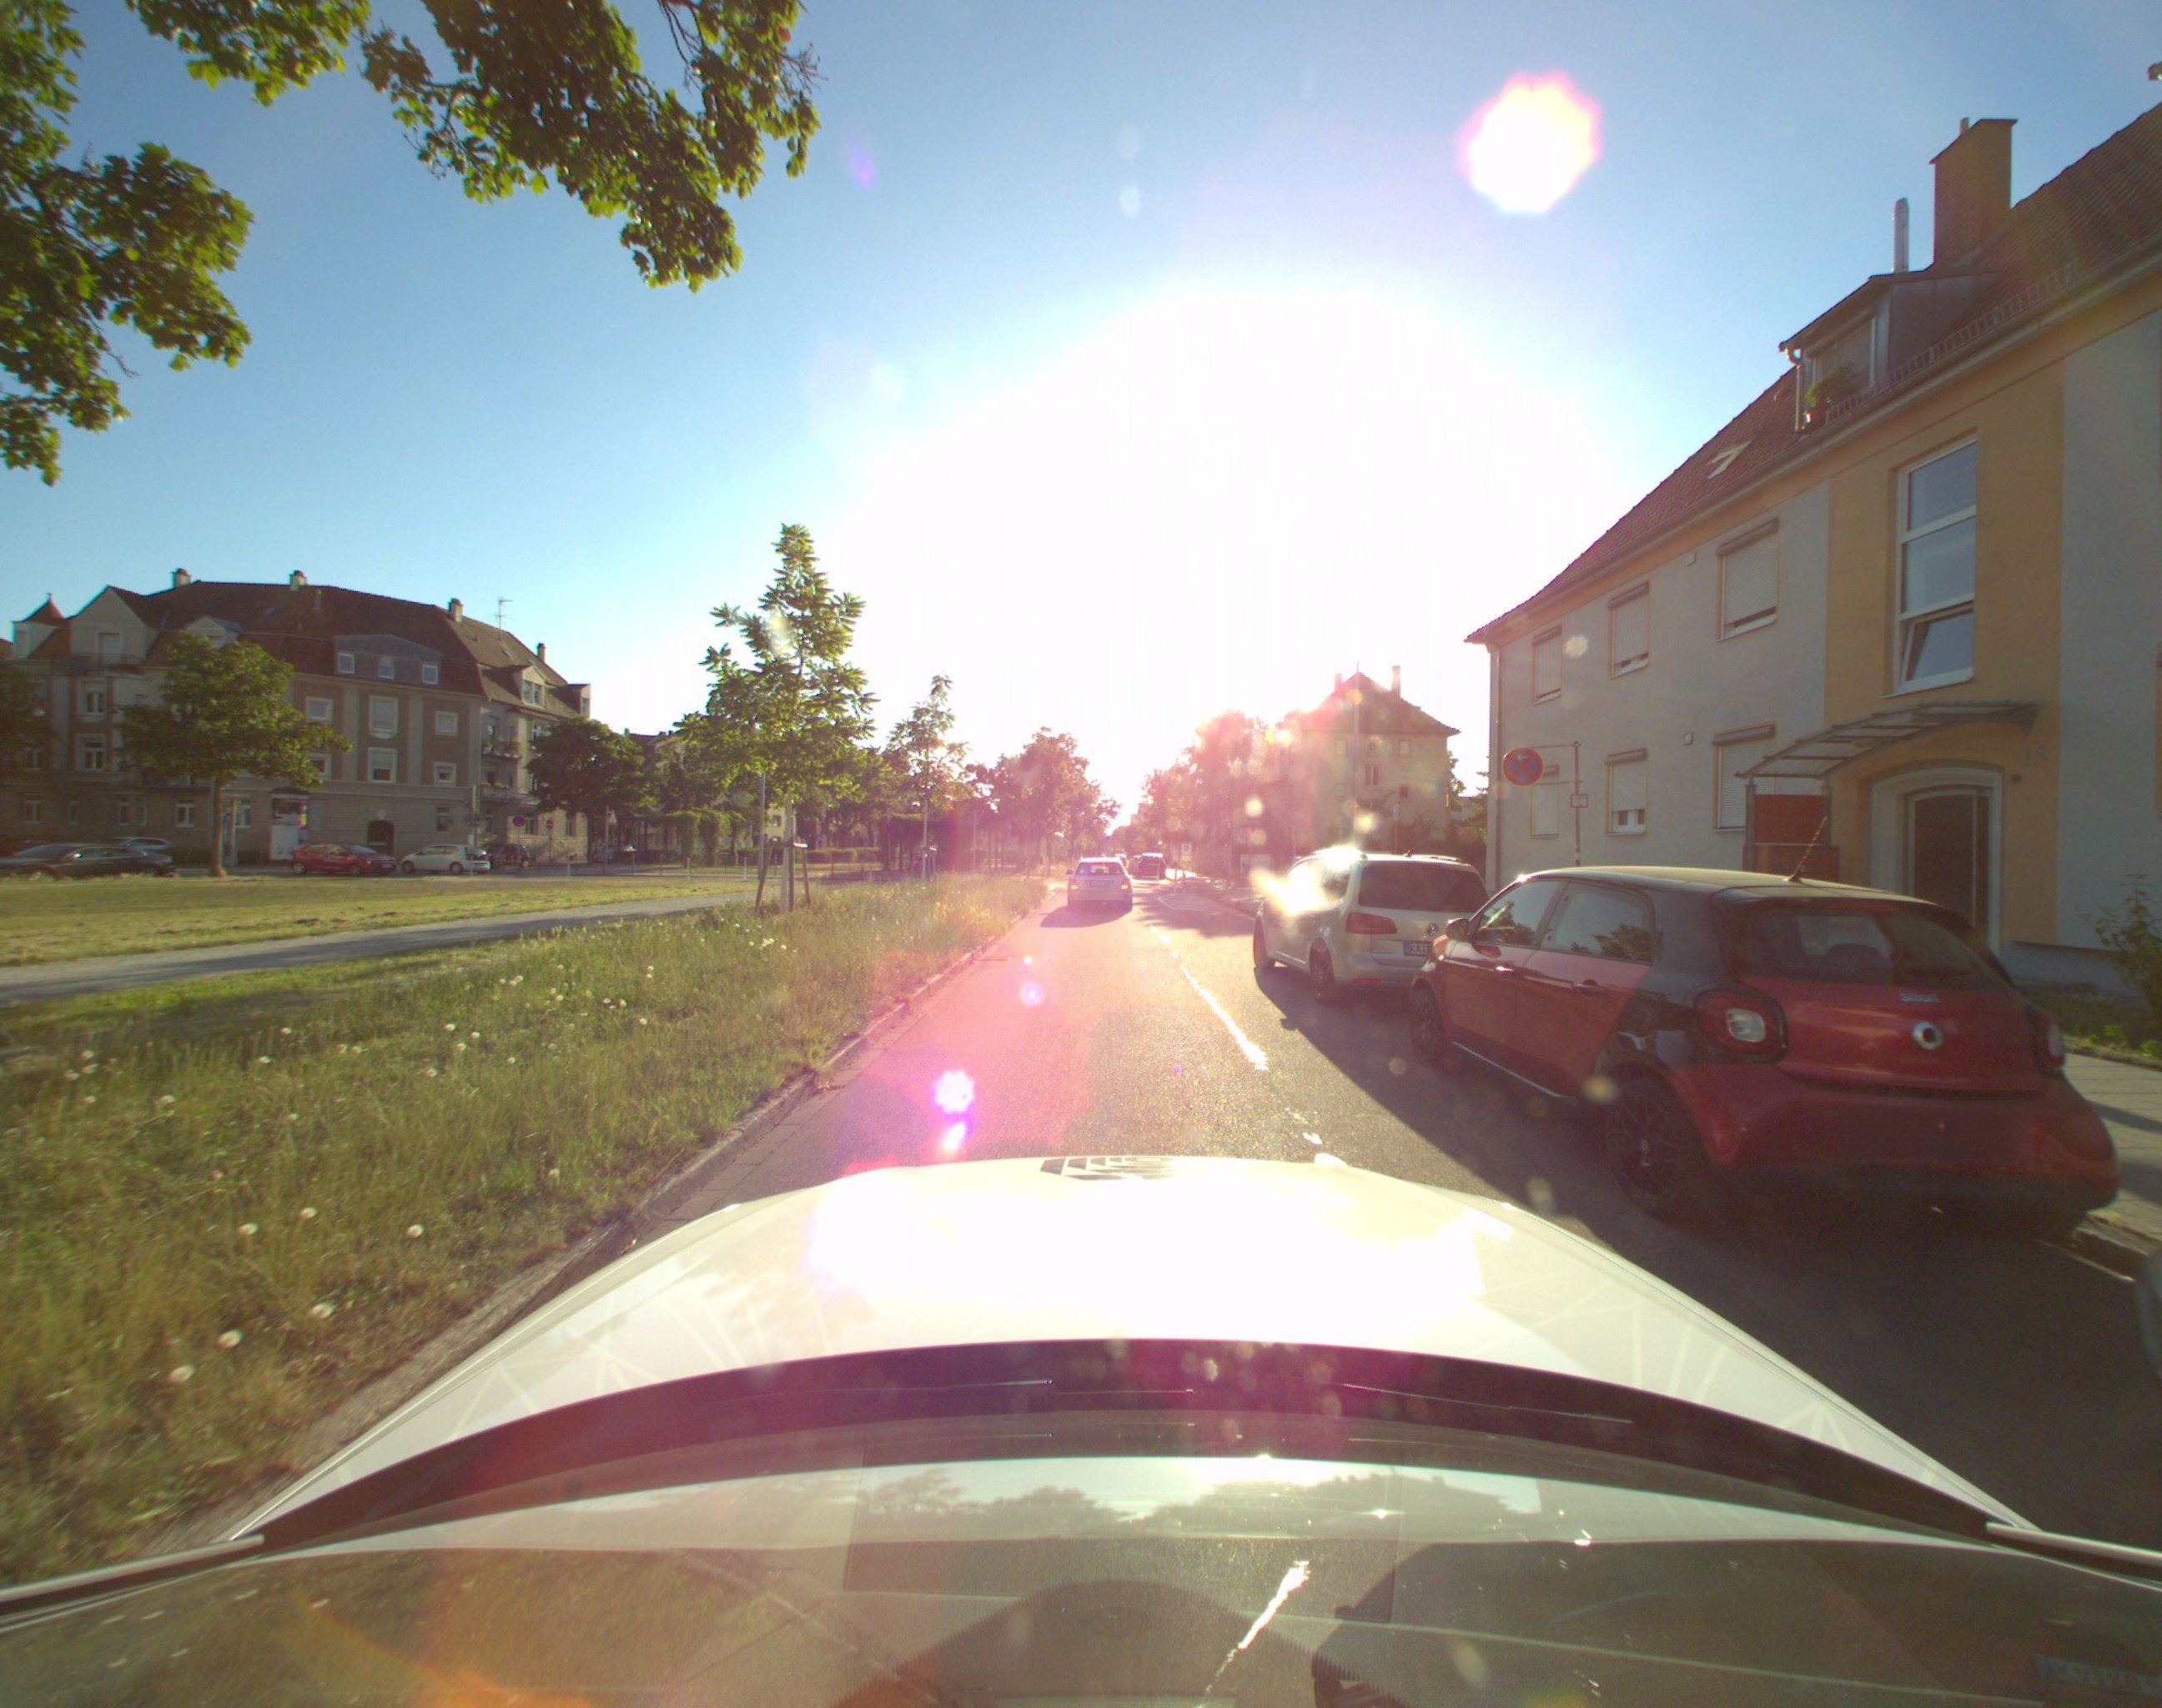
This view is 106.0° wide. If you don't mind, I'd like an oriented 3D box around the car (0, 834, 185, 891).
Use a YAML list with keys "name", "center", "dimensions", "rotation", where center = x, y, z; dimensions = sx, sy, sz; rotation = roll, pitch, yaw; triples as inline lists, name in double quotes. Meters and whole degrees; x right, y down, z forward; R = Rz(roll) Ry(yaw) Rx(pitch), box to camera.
- name: "car"
  center: [-33.139, 0.307, 26.719]
  dimensions: [1.975, 1.637, 4.832]
  rotation: [-3, -1, 3]

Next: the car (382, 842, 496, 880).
- name: "car"
  center: [-30.872, 0.356, 39.247]
  dimensions: [3.878, 1.596, 2.001]
  rotation: [-3, -1, 2]

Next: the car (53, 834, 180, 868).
- name: "car"
  center: [-50.604, -0.128, 42.850]
  dimensions: [1.689, 1.637, 4.080]
  rotation: [-3, -1, 3]

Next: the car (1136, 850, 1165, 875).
- name: "car"
  center: [4.595, 0.572, 54.001]
  dimensions: [1.715, 1.597, 4.002]
  rotation: [0, -1, 2]

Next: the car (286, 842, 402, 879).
- name: "car"
  center: [-32.567, 0.252, 36.036]
  dimensions: [3.573, 1.481, 1.685]
  rotation: [2, 2, 0]

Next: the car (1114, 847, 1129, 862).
- name: "car"
  center: [5.545, 0.099, 112.332]
  dimensions: [1.981, 2.023, 4.002]
  rotation: [1, 0, 2]

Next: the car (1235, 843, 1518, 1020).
- name: "car"
  center: [3.310, 0.754, 10.204]
  dimensions: [1.712, 1.639, 4.560]
  rotation: [3, 0, -2]

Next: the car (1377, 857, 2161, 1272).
- name: "car"
  center: [3.303, 0.803, 4.945]
  dimensions: [1.723, 1.526, 3.735]
  rotation: [-1, 0, 1]

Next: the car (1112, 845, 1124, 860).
- name: "car"
  center: [5.886, -0.234, 130.392]
  dimensions: [1.854, 2.193, 5.072]
  rotation: [1, 0, 2]

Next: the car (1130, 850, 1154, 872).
- name: "car"
  center: [4.700, 0.533, 63.102]
  dimensions: [1.715, 1.597, 4.002]
  rotation: [1, 0, 2]

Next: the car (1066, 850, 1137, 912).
- name: "car"
  center: [0.590, 0.691, 22.907]
  dimensions: [1.816, 1.566, 4.002]
  rotation: [0, 0, 2]

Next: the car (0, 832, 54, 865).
- name: "car"
  center: [-57.758, -0.269, 43.055]
  dimensions: [1.690, 1.674, 4.078]
  rotation: [-3, -1, 2]

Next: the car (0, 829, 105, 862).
- name: "car"
  center: [-55.221, -0.437, 43.368]
  dimensions: [1.591, 1.716, 3.973]
  rotation: [1, 0, 3]

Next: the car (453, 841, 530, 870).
- name: "car"
  center: [-37.732, 0.137, 52.260]
  dimensions: [1.637, 1.707, 4.296]
  rotation: [-3, -1, 3]

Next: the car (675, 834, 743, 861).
- name: "car"
  center: [-39.231, -0.714, 85.977]
  dimensions: [6.332, 2.720, 1.984]
  rotation: [1, 0, -29]
